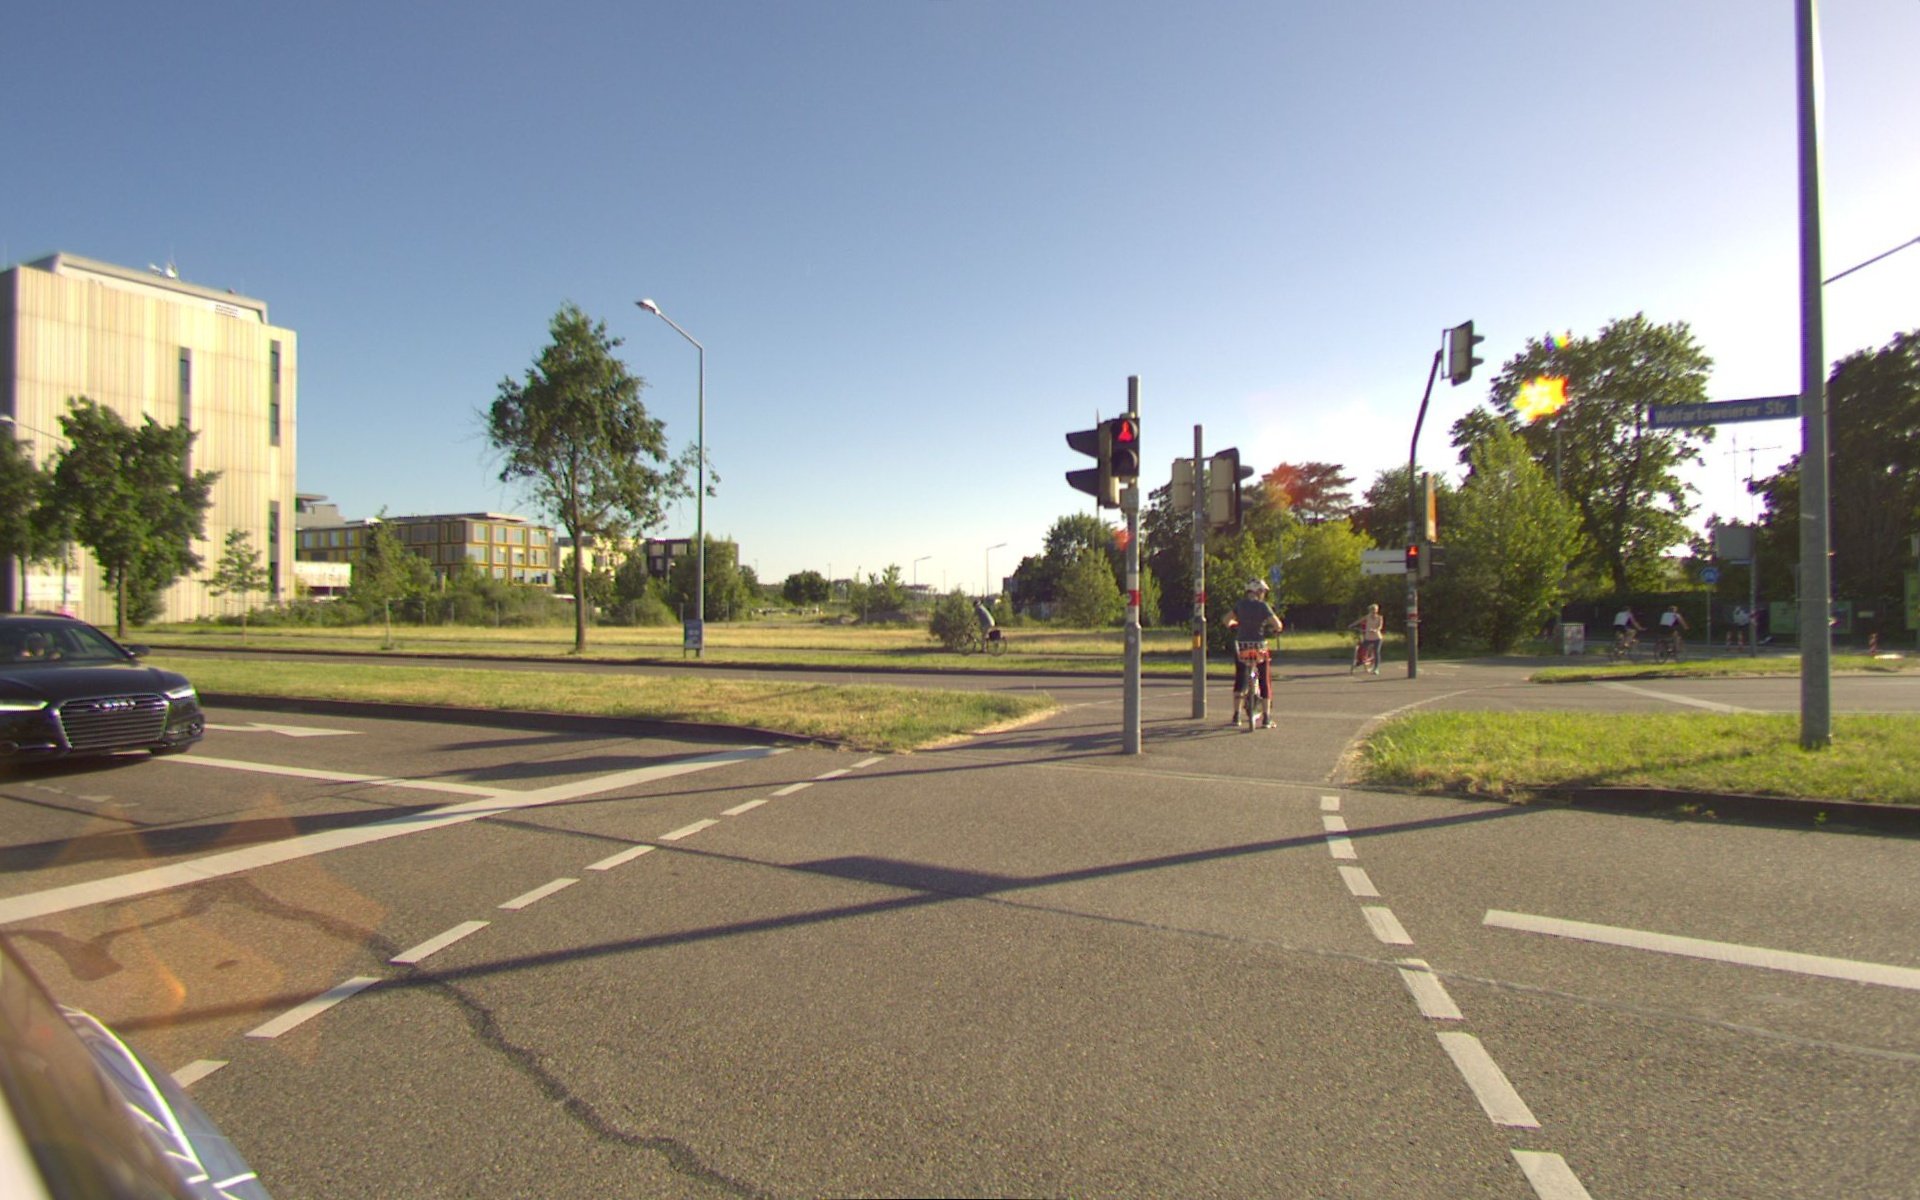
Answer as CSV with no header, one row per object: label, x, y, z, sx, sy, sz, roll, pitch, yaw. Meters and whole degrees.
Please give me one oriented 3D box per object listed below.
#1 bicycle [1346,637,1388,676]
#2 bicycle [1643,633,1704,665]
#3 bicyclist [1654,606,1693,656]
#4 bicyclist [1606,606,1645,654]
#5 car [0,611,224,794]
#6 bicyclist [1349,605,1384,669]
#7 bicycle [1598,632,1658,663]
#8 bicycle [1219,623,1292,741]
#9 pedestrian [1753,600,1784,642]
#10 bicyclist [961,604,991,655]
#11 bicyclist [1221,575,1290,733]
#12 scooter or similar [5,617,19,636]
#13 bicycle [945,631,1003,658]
bicycle,9.995,1.369,24.817,0.615,0.859,1.868,-1,-1,33
bicycle,20.504,1.390,29.089,1.856,0.859,0.619,0,-1,-27
bicyclist,20.499,0.880,29.086,0.706,1.403,0.619,0,-1,-27
bicyclist,19.486,0.871,29.632,0.823,1.403,0.619,0,-1,-27
car,-9.641,0.879,9.987,4.991,1.454,1.782,-1,0,27
bicyclist,9.967,0.901,24.780,0.615,1.528,0.915,-1,-1,33
bicycle,19.578,1.376,29.667,1.856,0.859,0.619,0,-1,-27
bicycle,3.237,0.842,11.065,0.698,1.137,1.646,0,0,17
pedestrian,38.931,1.009,48.743,0.886,2.029,0.821,1,-1,-20
bicyclist,0.513,0.935,32.248,0.849,1.576,0.428,-1,-1,31
bicyclist,3.287,0.571,11.260,0.698,1.676,0.937,0,0,17
scooter or similar,-55.655,1.534,59.434,1.405,1.118,0.448,-1,-1,41
bicycle,0.437,1.411,32.285,1.882,0.859,0.486,-1,-1,32
